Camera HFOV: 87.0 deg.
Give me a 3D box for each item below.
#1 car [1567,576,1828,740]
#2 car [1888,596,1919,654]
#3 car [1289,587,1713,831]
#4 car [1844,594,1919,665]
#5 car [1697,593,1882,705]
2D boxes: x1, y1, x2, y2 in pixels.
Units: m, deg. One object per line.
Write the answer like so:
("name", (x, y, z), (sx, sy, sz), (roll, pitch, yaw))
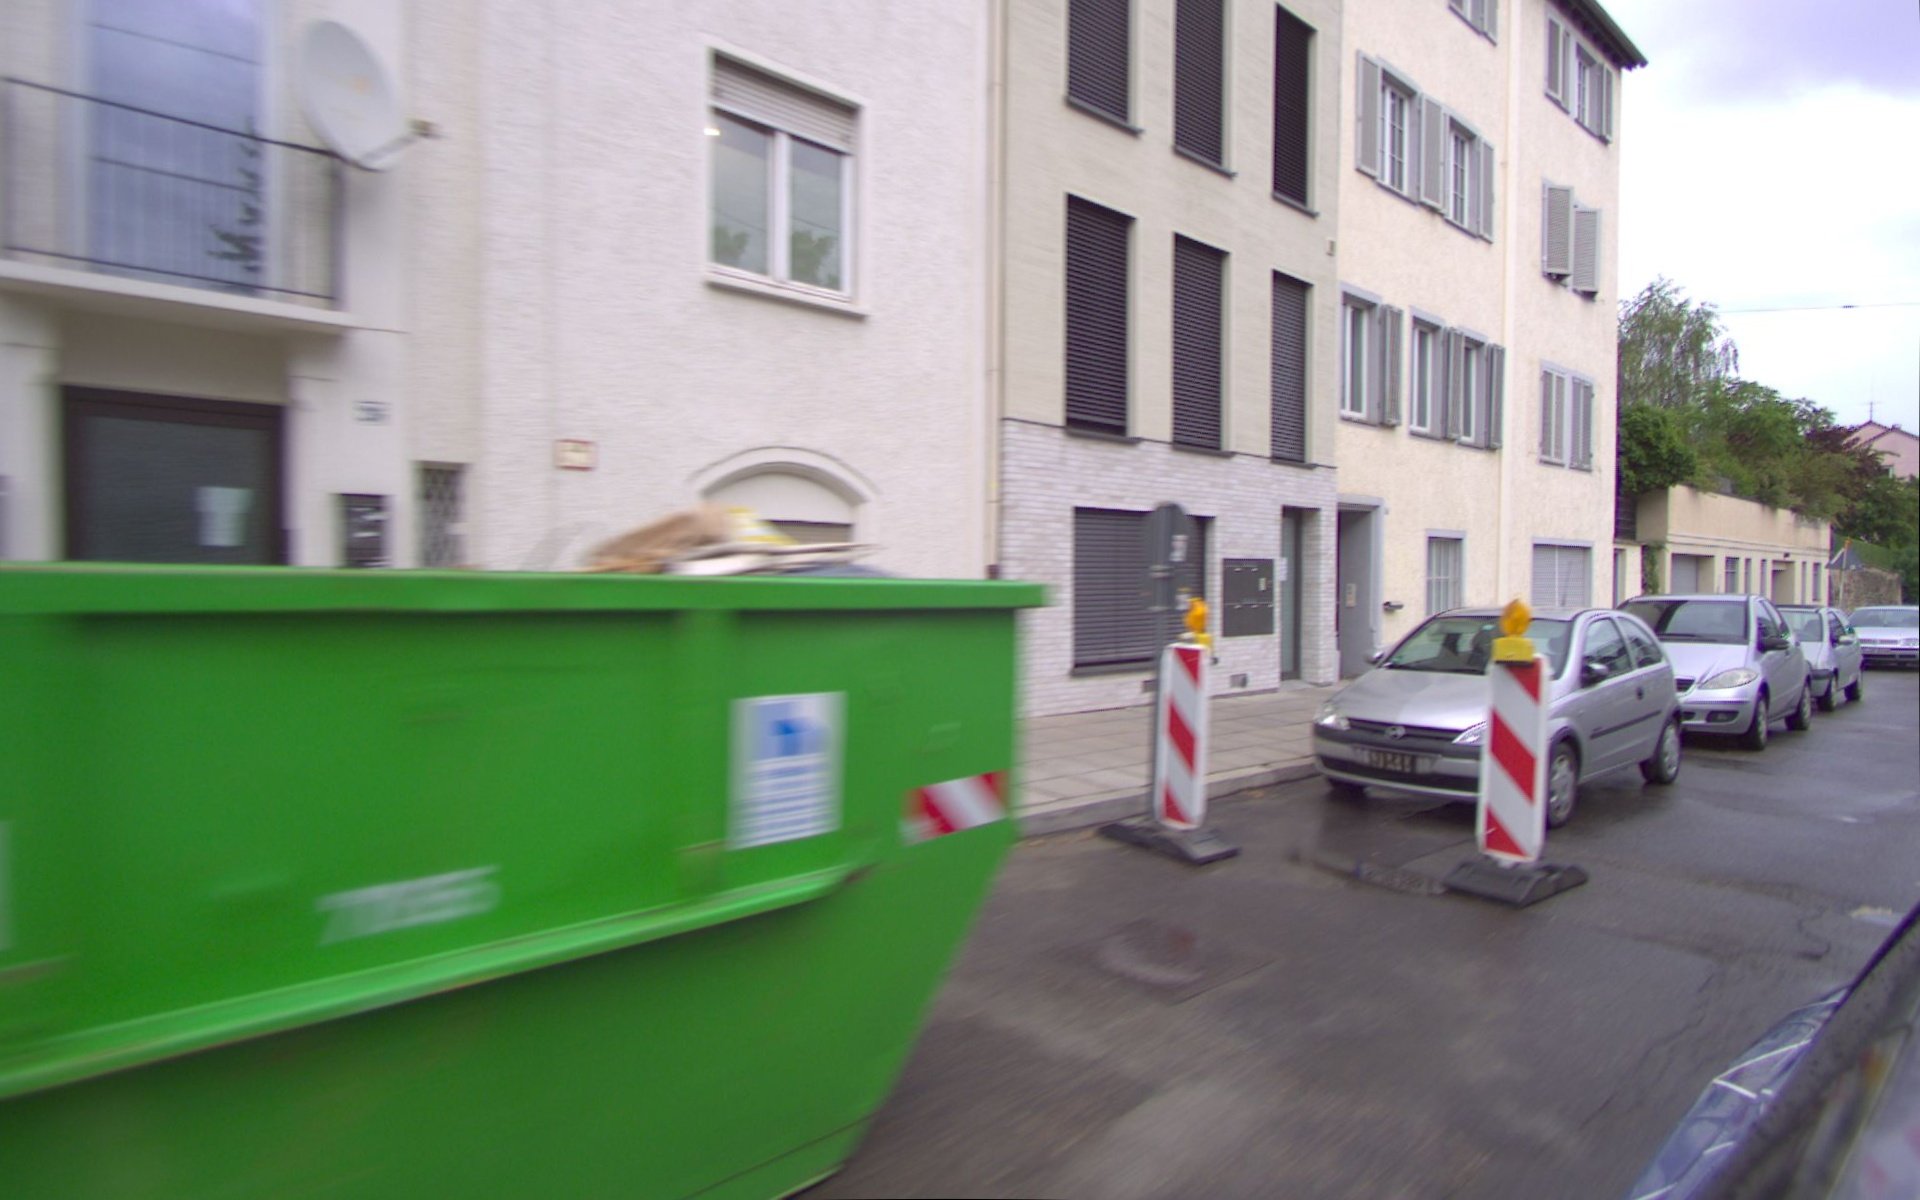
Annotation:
("car", (8.486, 0.559, 11.520), (3.933, 1.544, 1.718), (0, -1, -43))
("car", (25.827, 0.635, 26.667), (3.694, 1.472, 1.631), (0, -1, -42))
("car", (4.296, 0.650, 7.801), (3.774, 1.429, 1.629), (0, -1, -41))
("car", (21.273, 0.628, 22.756), (3.694, 1.472, 1.631), (0, -1, -42))
("car", (12.414, 0.652, 15.080), (3.694, 1.472, 1.561), (0, -1, -42))
